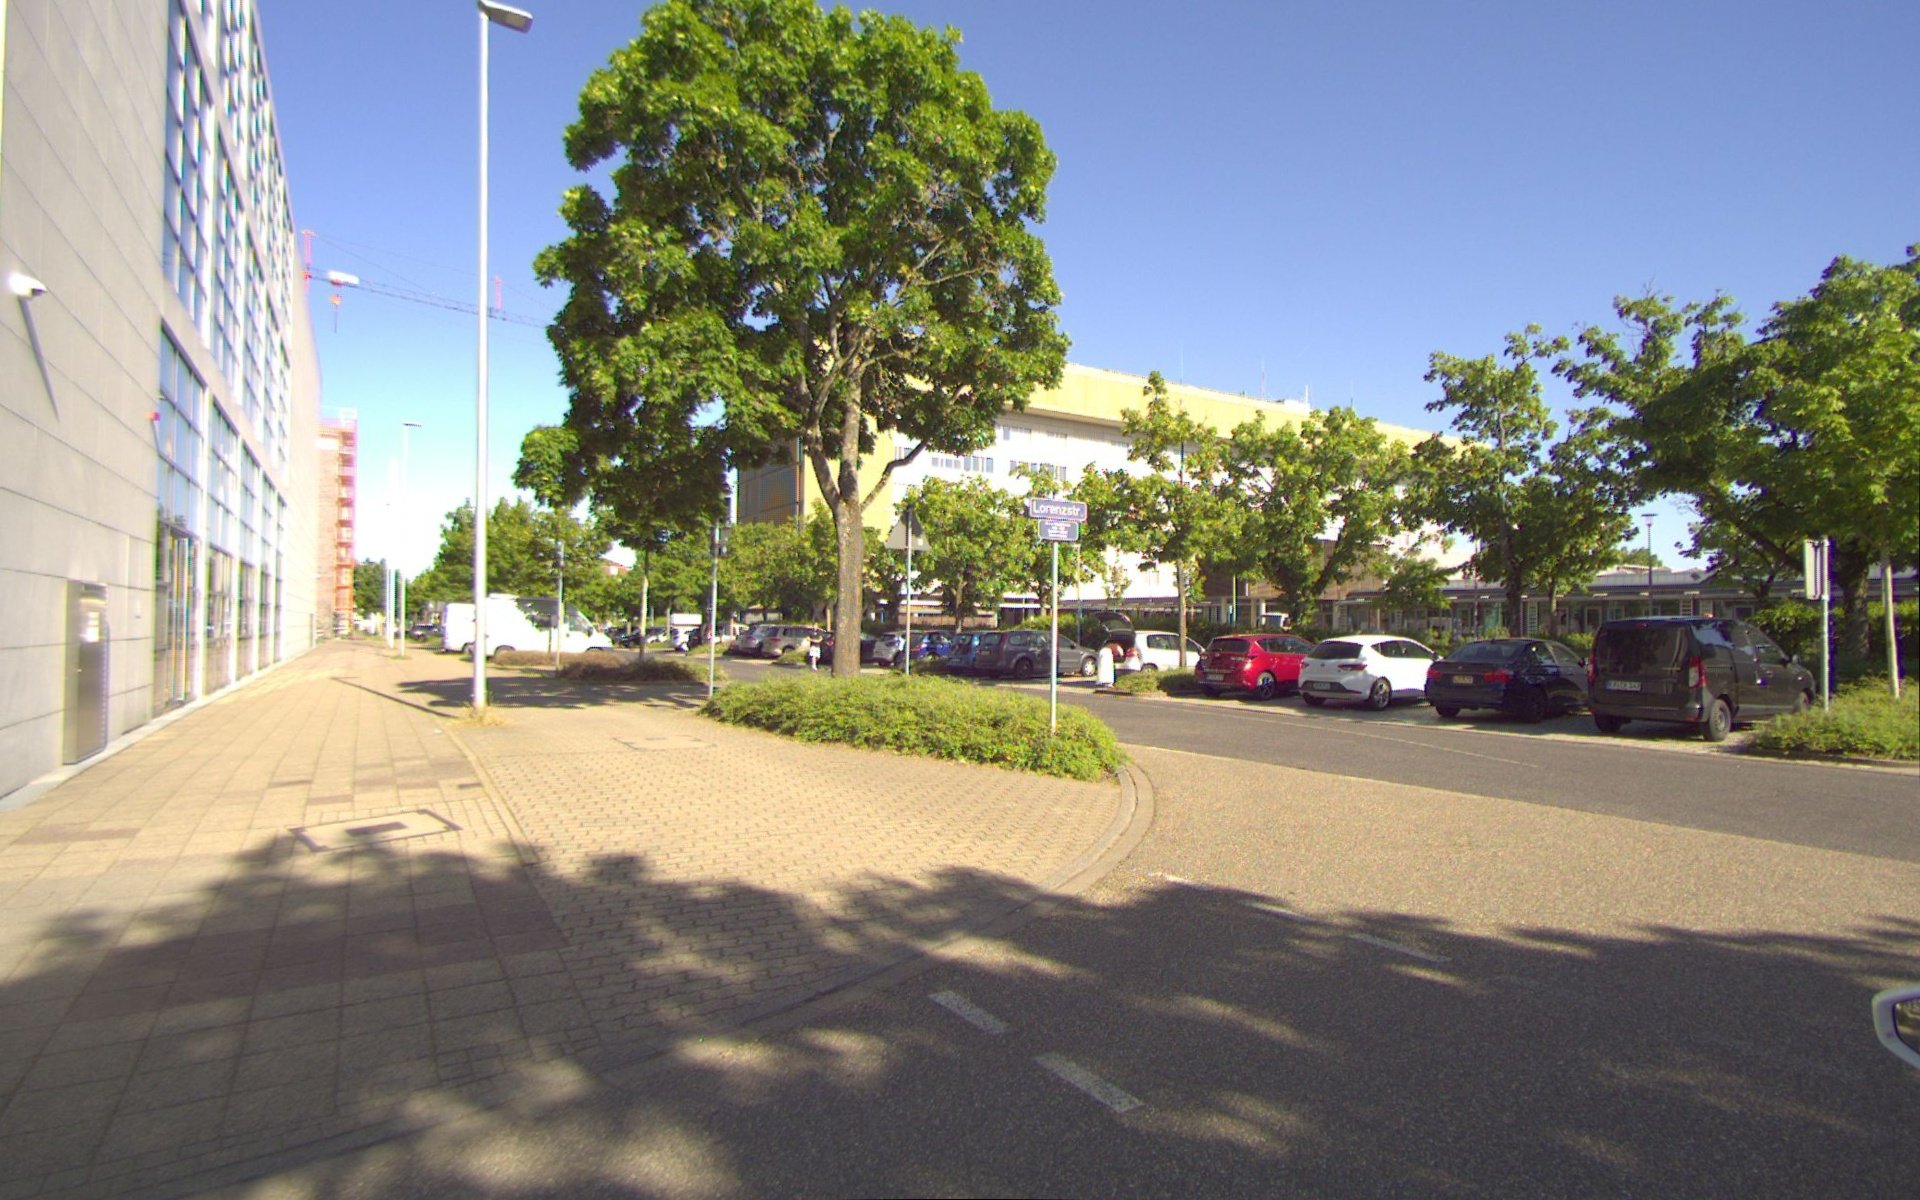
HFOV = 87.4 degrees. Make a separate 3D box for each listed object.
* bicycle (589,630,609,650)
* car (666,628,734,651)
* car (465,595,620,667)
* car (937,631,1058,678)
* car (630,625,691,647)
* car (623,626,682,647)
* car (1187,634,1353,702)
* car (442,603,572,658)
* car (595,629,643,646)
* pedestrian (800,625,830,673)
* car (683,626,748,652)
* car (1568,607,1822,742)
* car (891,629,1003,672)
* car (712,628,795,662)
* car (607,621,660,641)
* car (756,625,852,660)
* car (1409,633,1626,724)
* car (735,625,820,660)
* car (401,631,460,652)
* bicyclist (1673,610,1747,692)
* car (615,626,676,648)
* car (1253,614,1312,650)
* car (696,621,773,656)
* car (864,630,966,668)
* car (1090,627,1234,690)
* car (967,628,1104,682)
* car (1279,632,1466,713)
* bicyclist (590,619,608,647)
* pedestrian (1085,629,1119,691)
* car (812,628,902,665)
[{"bbox_3d":[-19.175,2.112,53.335,0.750,1.015,1.857,-1,-1,-29],"label":"bicycle"},{"bbox_3d":[-17.162,2.607,66.310,4.027,1.444,1.728,0,-2,-30],"label":"car"},{"bbox_3d":[-16.019,1.228,38.643,5.205,2.450,2.106,4,-3,-30],"label":"car"},{"bbox_3d":[1.287,1.797,33.854,3.870,1.487,1.606,1,0,-33],"label":"car"},{"bbox_3d":[-21.445,2.558,71.968,3.870,1.505,1.728,1,-1,-32],"label":"car"},{"bbox_3d":[-22.746,2.694,74.371,3.834,1.524,1.637,1,-1,-34],"label":"car"},{"bbox_3d":[7.313,1.537,23.619,3.870,1.445,1.657,1,0,-33],"label":"car"},{"bbox_3d":[-21.911,1.507,48.654,5.503,2.441,1.972,3,-2,-30],"label":"car"},{"bbox_3d":[-30.237,3.274,88.966,3.736,1.478,1.802,1,-2,-32],"label":"car"},{"bbox_3d":[-5.528,1.861,38.354,0.713,1.794,1.158,-1,-1,-32],"label":"pedestrian"},{"bbox_3d":[-15.175,2.408,62.334,3.579,1.570,1.691,1,0,-33],"label":"car"},{"bbox_3d":[11.802,1.081,16.082,4.121,1.871,1.864,0,-1,-31],"label":"car"},{"bbox_3d":[-0.479,1.869,37.851,3.861,1.517,1.828,1,-1,-30],"label":"car"},{"bbox_3d":[-10.992,2.384,53.525,3.870,1.718,1.923,1,0,-33],"label":"car"},{"bbox_3d":[-27.578,2.626,84.928,3.954,1.603,2.015,1,-2,-31],"label":"car"},{"bbox_3d":[-7.676,2.070,49.595,4.291,1.629,1.894,1,-1,-35],"label":"car"},{"bbox_3d":[10.343,1.368,18.567,4.123,1.424,1.813,0,-1,-33],"label":"car"},{"bbox_3d":[-9.353,2.155,51.504,3.870,1.718,1.923,1,0,-33],"label":"car"},{"bbox_3d":[-47.640,3.739,90.458,4.584,1.790,1.972,3,-3,-30],"label":"car"},{"bbox_3d":[14.707,0.980,19.720,0.589,1.544,1.007,1,0,-29],"label":"bicyclist"},{"bbox_3d":[-23.883,2.812,76.341,4.112,1.601,1.725,0,-1,-33],"label":"car"},{"bbox_3d":[23.206,2.291,72.221,3.602,2.524,2.216,1,-1,-29],"label":"car"},{"bbox_3d":[-13.519,2.288,60.234,4.088,1.953,1.960,1,0,-33],"label":"car"},{"bbox_3d":[-1.784,1.929,40.032,3.700,1.435,1.828,1,-1,-30],"label":"car"},{"bbox_3d":[5.654,1.569,27.953,3.870,1.599,1.664,1,0,-33],"label":"car"},{"bbox_3d":[2.408,1.686,31.669,4.154,1.540,1.721,1,-1,-33],"label":"car"},{"bbox_3d":[8.716,1.449,21.171,3.870,1.456,1.792,0,0,-33],"label":"car"},{"bbox_3d":[-19.182,1.730,53.373,0.750,1.451,1.123,-1,-1,-29],"label":"bicyclist"},{"bbox_3d":[3.745,1.570,26.612,0.752,1.600,0.673,1,0,-3],"label":"pedestrian"},{"bbox_3d":[-4.401,1.978,43.088,3.427,1.508,1.731,0,-2,-33],"label":"car"}]
